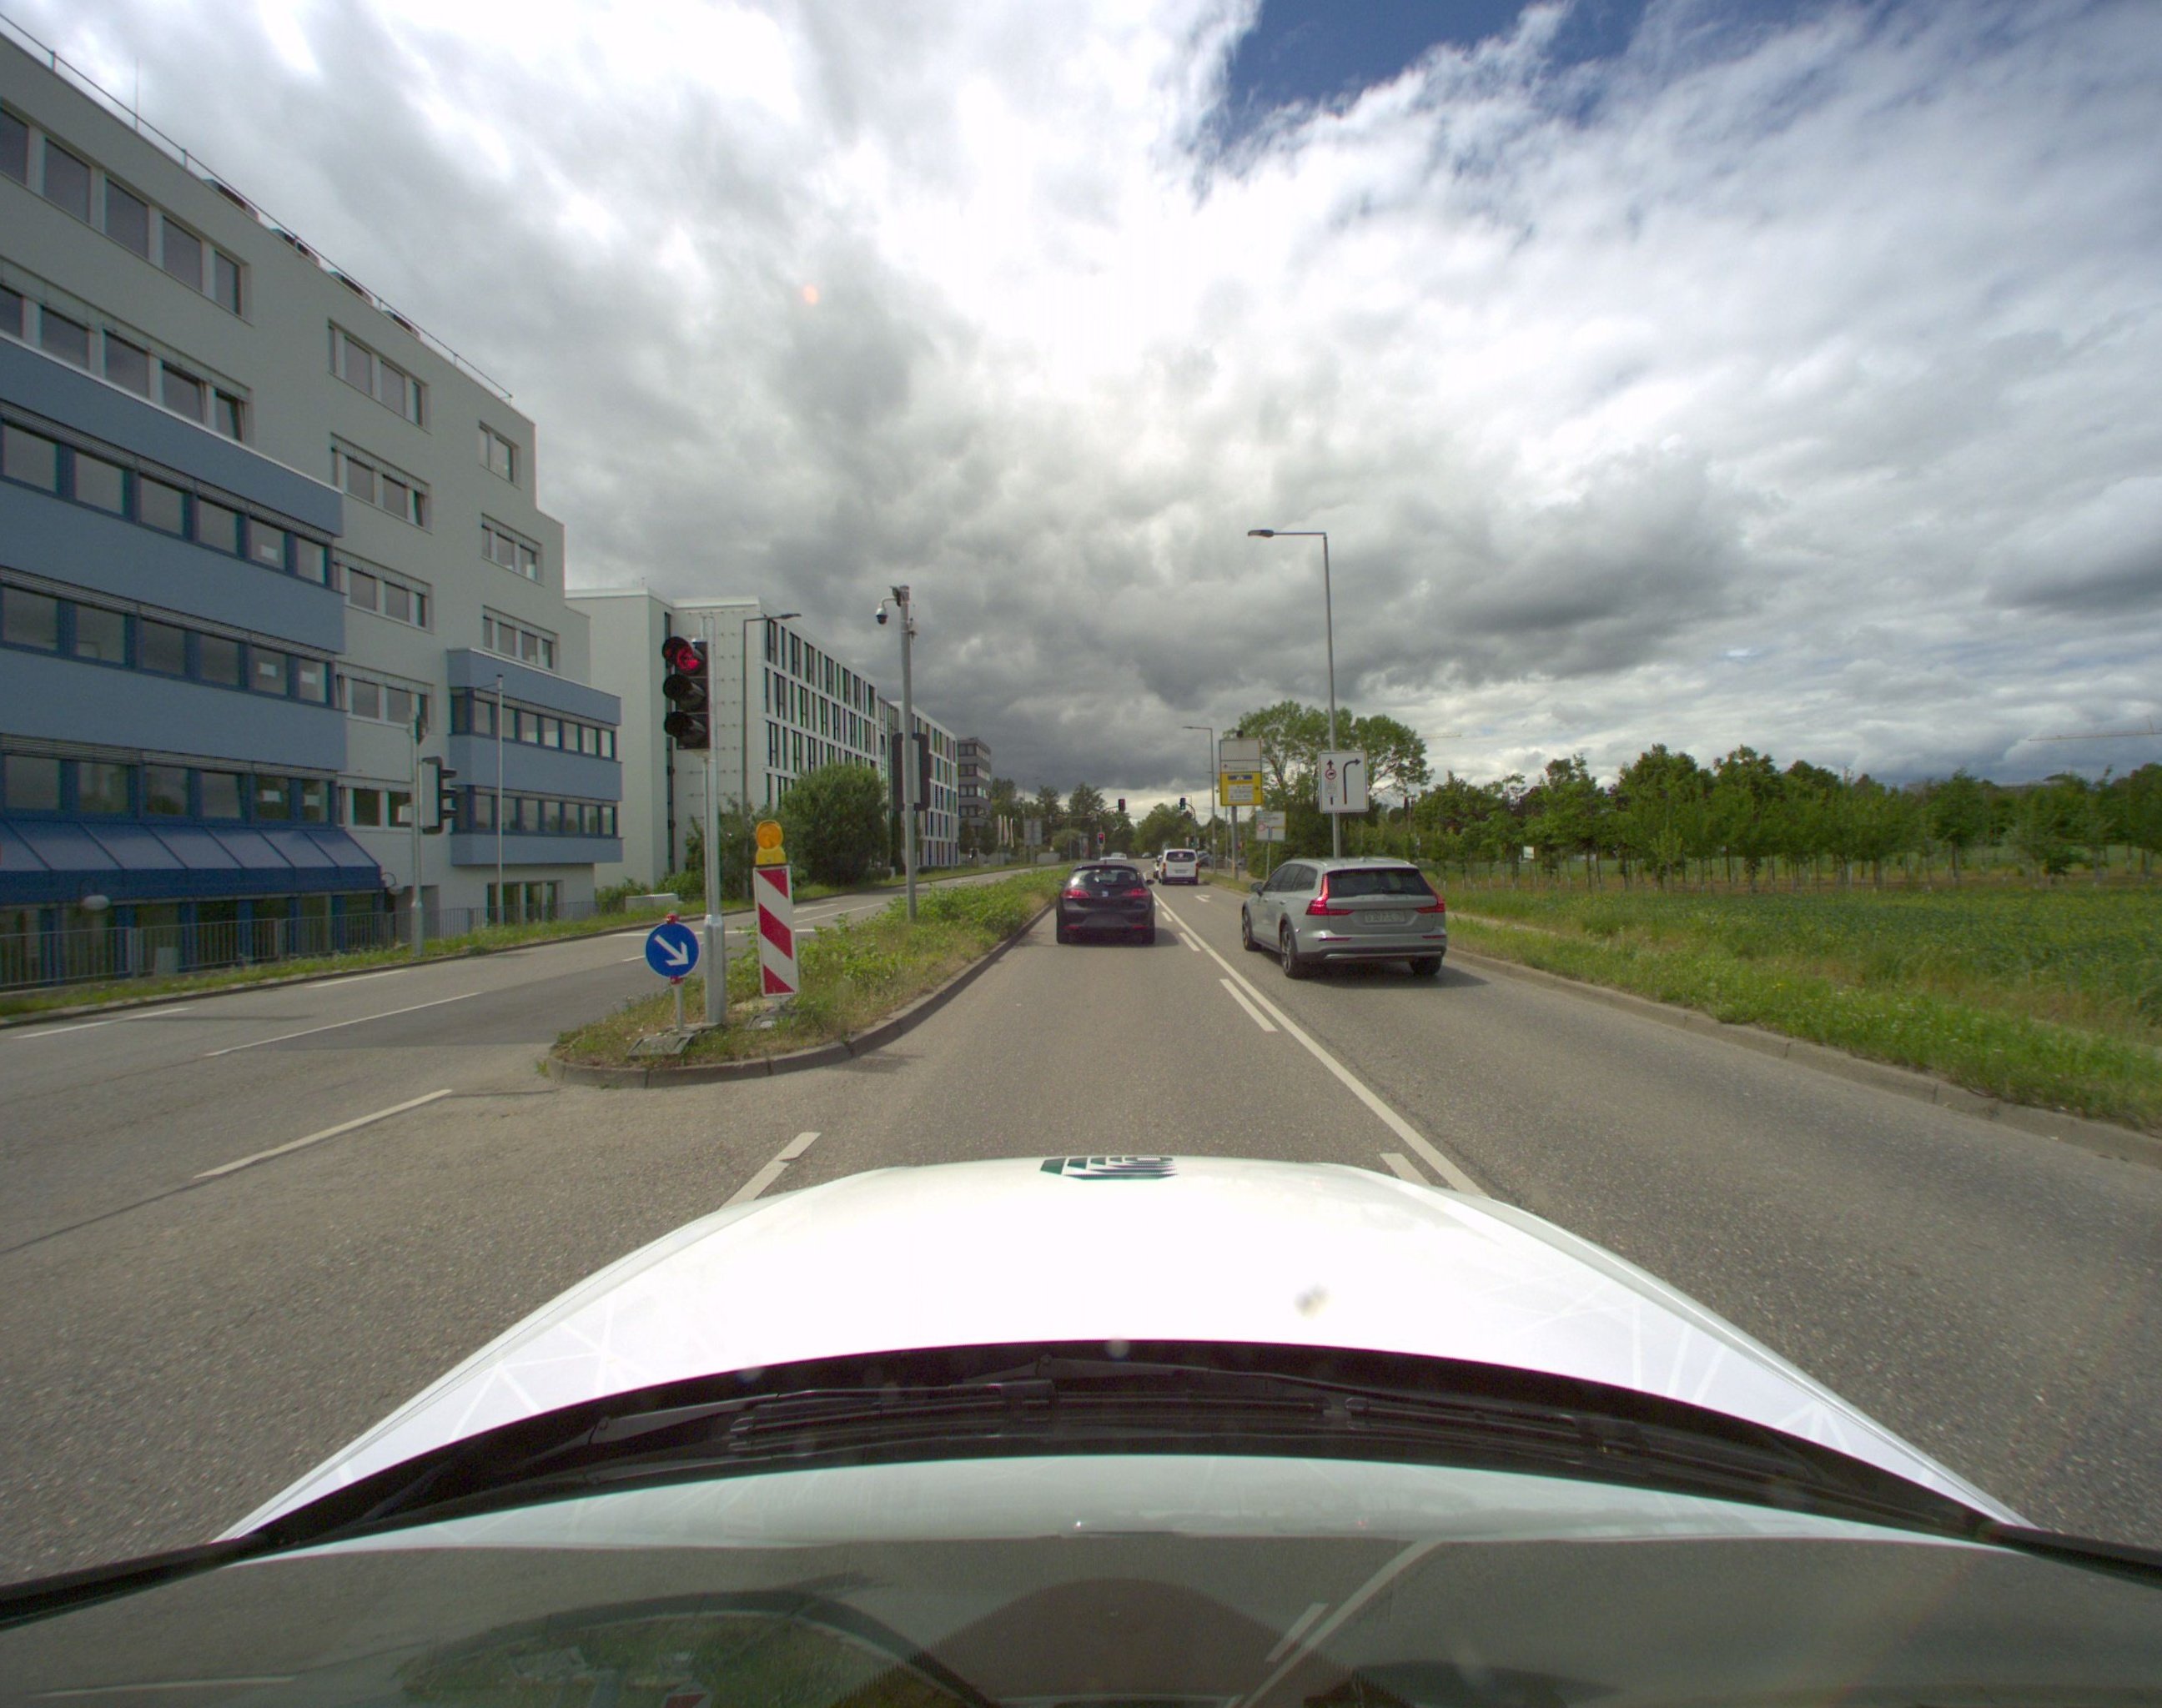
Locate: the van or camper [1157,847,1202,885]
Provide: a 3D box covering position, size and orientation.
[{"bbox_3d":[5.184,0.612,43.274,1.985,1.860,4.947,-1,0,3],"label":"van or camper"}]

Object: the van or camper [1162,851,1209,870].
[{"bbox_3d":[11.630,0.712,90.721,4.796,2.014,1.995,-1,0,-8],"label":"van or camper"}]

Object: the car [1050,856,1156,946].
[{"bbox_3d":[0.498,0.782,15.289,1.765,1.452,3.586,0,0,4],"label":"car"}]

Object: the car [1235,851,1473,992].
[{"bbox_3d":[3.451,0.744,11.263,1.856,1.518,4.447,-2,0,1],"label":"car"}]

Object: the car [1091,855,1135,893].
[{"bbox_3d":[1.368,0.820,35.252,1.766,1.491,3.584,-2,0,2],"label":"car"}]

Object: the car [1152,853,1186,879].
[{"bbox_3d":[5.807,0.787,54.195,1.986,1.632,4.002,-1,0,2],"label":"car"}]
